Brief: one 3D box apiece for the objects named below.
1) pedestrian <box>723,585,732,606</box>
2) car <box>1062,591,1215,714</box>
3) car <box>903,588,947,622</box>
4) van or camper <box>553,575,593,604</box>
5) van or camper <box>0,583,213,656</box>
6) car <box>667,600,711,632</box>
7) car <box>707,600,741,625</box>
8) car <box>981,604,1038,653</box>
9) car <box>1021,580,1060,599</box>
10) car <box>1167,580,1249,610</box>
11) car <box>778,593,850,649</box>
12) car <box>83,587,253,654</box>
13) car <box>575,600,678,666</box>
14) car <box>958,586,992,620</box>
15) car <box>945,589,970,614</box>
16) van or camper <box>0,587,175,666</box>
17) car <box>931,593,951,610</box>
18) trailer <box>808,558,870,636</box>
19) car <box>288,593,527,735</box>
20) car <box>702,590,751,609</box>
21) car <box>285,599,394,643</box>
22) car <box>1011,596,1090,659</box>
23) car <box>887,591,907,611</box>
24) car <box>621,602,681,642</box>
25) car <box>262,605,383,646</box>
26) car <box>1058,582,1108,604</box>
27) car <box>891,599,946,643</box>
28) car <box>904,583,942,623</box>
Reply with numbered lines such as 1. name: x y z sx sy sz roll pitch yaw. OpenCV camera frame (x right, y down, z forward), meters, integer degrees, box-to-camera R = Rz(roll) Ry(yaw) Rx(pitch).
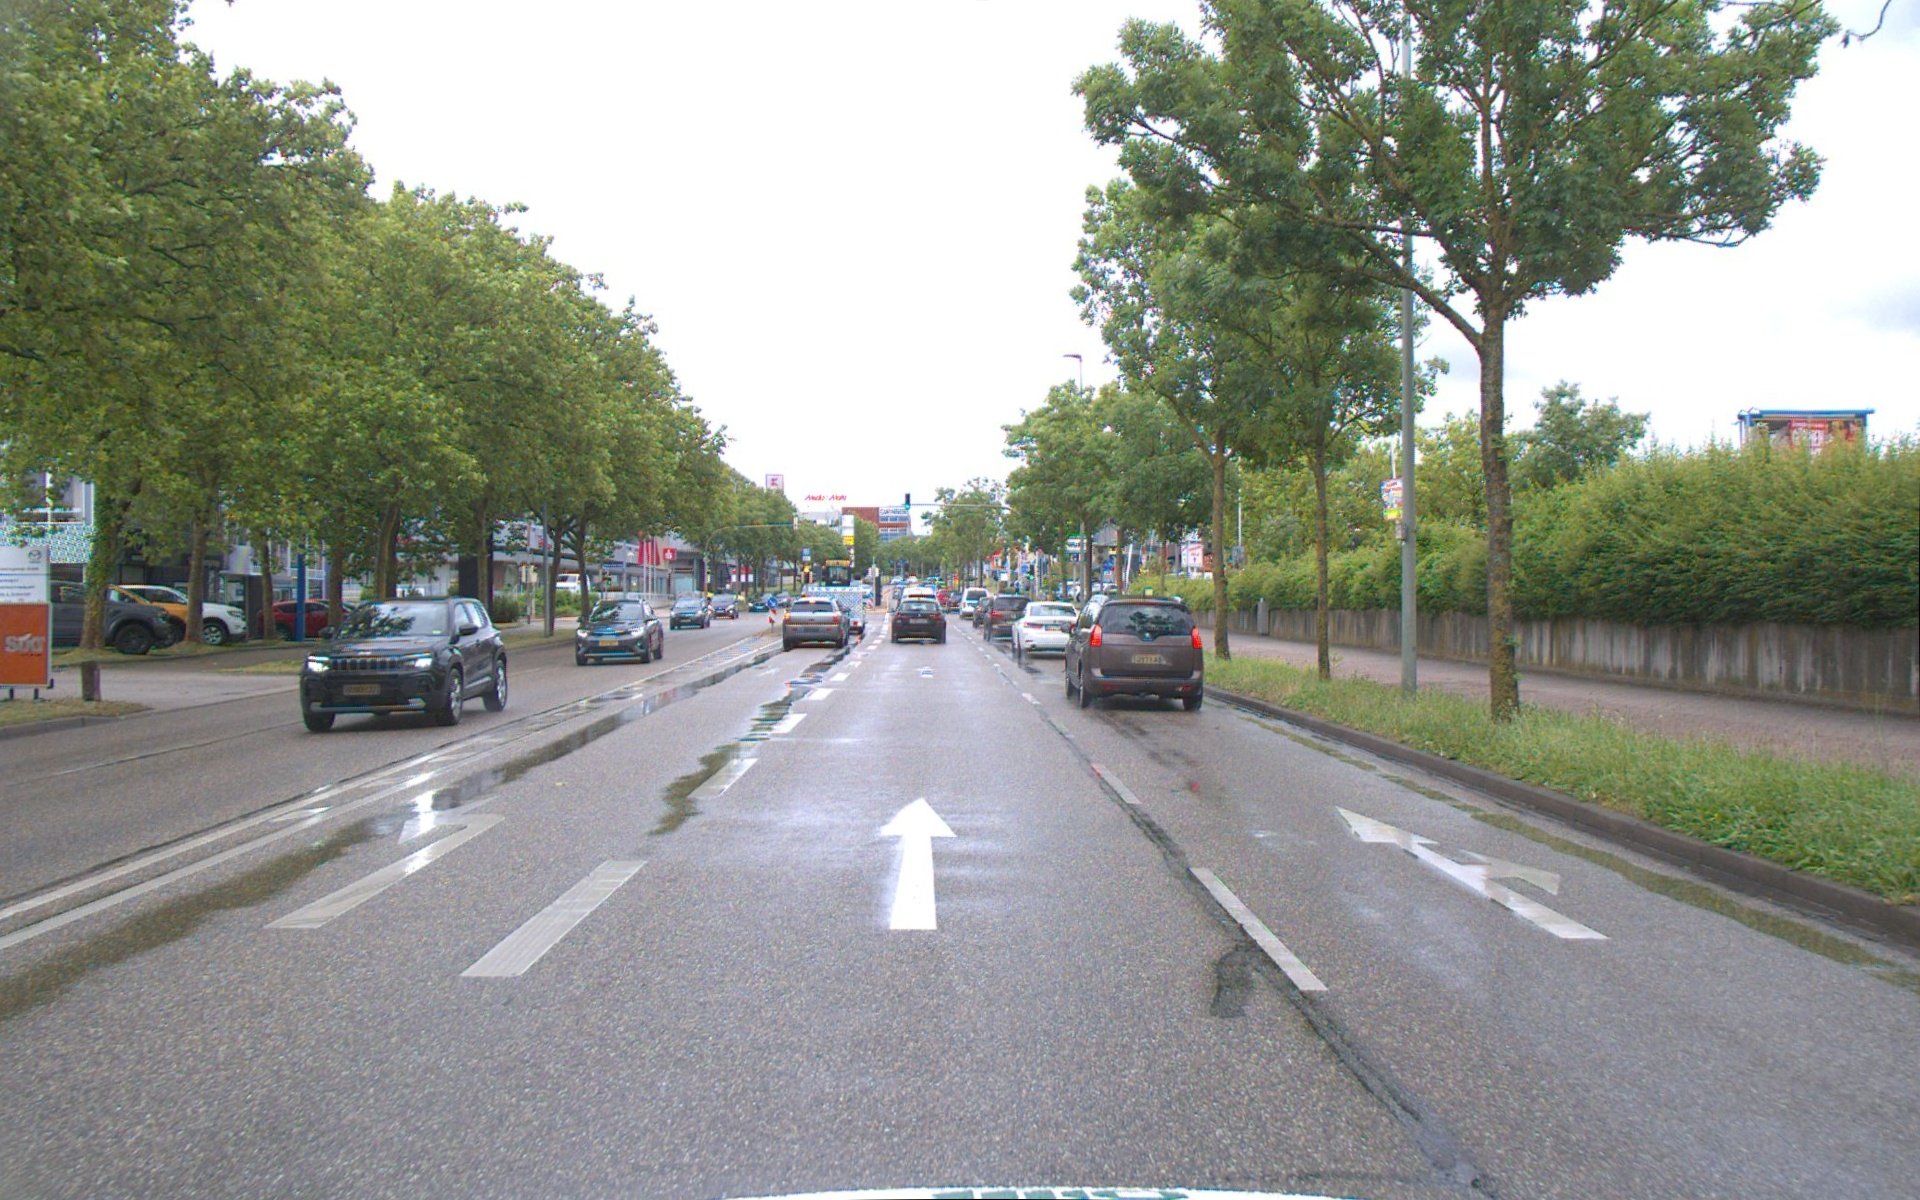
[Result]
1. pedestrian: -25.447 -0.491 181.010 0.842 2.257 0.845 0 0 -5
2. car: 2.583 0.713 24.860 1.691 1.653 4.469 -1 0 -1
3. car: -1.538 0.194 71.654 1.649 1.401 3.996 -1 0 -5
4. van or camper: -28.707 -0.738 122.812 1.953 2.001 4.786 1 -1 -2
5. van or camper: -23.386 0.524 45.298 5.289 1.801 2.088 -1 -3 -25
6. car: -13.396 0.778 81.926 1.676 1.490 4.082 -1 0 -3
7. car: -14.589 0.773 102.451 1.676 1.490 4.082 -1 0 -3
8. car: 1.722 0.983 58.866 1.765 1.614 4.450 1 0 -1
9. car: 8.477 -1.120 174.116 4.027 1.938 1.799 -1 1 0
10. car: 12.451 -0.262 83.128 3.905 1.467 1.655 -1 0 0
11. car: -4.467 0.614 51.150 1.868 1.606 4.879 -1 0 -1
12. car: -23.128 0.567 48.464 4.396 1.847 1.985 -1 0 -25
13. car: -8.098 0.767 40.443 1.632 1.488 4.180 -1 0 0
14. car: 0.852 0.179 96.566 1.746 1.899 3.998 -1 0 -2
15. car: -0.181 0.133 115.493 1.650 1.713 3.402 1 -1 -1
16. van or camper: -22.391 0.635 41.036 5.221 1.853 2.246 -1 0 -28
17. car: -1.645 0.121 140.539 1.661 1.468 3.988 -1 0 -1
18. trailer: -4.781 -0.131 66.152 2.325 2.947 5.542 -1 0 -3
19. car: -6.816 0.728 20.821 1.727 1.558 3.857 -2 0 -1
20. car: -20.434 -0.001 144.700 3.916 1.579 1.895 -1 1 33
21. car: -26.260 0.872 70.020 4.165 1.682 1.996 -2 0 -25
22. car: 2.371 0.706 44.442 1.764 1.571 4.619 1 0 -1
23. car: -6.661 0.110 175.143 1.953 2.049 3.999 1 -1 -1
24. car: -11.742 0.808 63.137 1.702 1.454 4.534 -1 0 -4
25. car: -25.725 1.030 66.750 4.495 1.624 1.985 1 0 -24
26. car: 10.311 -0.588 138.922 3.993 1.691 1.952 -4 2 -42
27. car: -1.414 0.674 55.522 1.746 1.422 3.998 0 0 -2
28. car: -1.990 0.193 89.137 1.953 2.049 3.998 1 -1 -2
